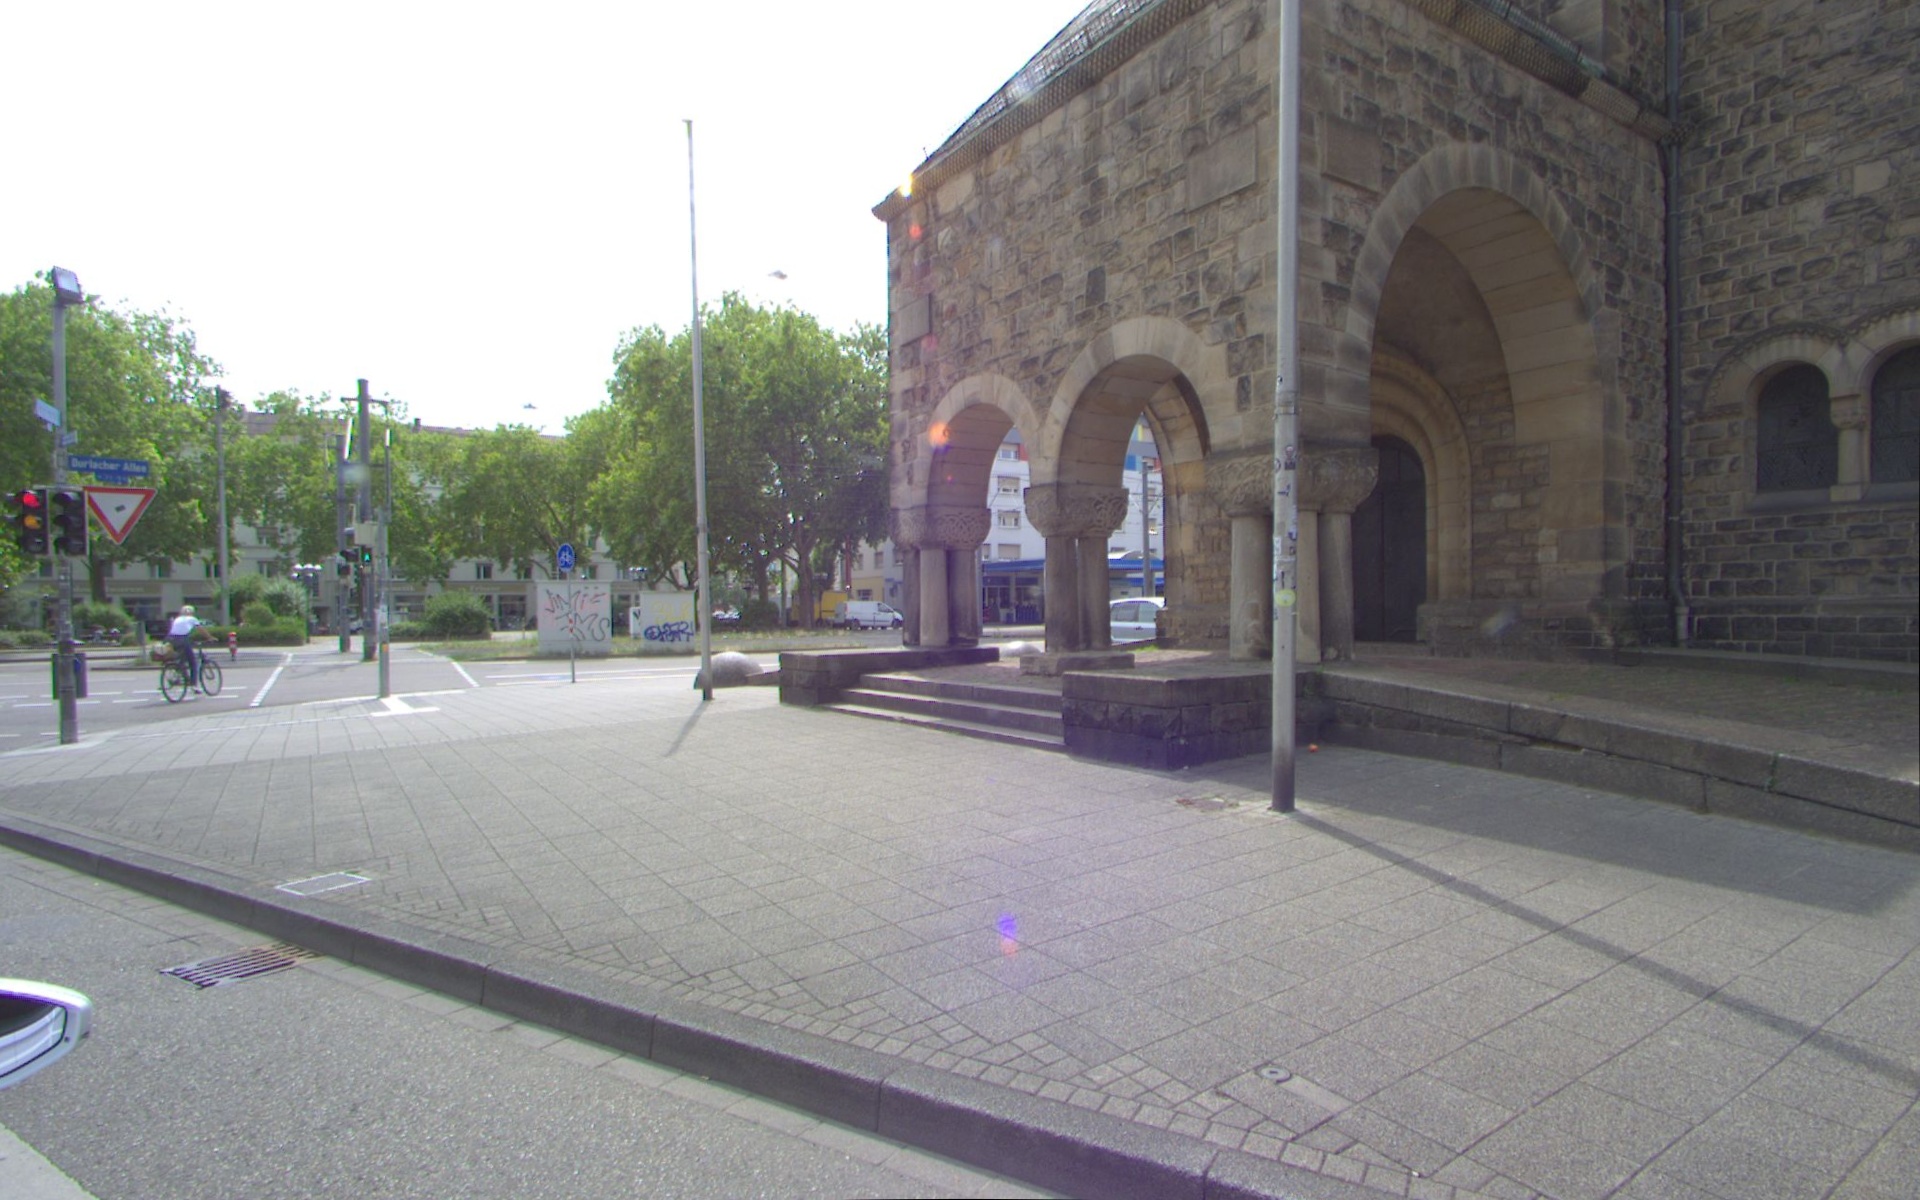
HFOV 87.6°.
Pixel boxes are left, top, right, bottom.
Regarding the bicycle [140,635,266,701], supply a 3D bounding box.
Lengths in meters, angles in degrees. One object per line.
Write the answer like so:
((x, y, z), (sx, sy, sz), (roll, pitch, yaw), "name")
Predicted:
((-13.963, 1.225, 18.556), (0.888, 1.089, 1.970), (0, 0, -2), "bicycle")

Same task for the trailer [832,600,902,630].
((-6.236, 0.981, 67.551), (4.377, 1.951, 1.843), (0, 0, -33), "trailer")

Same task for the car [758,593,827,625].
((-13.933, 0.750, 83.289), (5.269, 2.618, 2.165), (0, -1, -36), "car")

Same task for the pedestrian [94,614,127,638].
((-48.031, 1.464, 56.588), (1.422, 1.252, 1.087), (-1, 1, 37), "pedestrian")

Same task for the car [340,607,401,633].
((-45.185, 1.476, 76.764), (3.946, 1.908, 1.846), (-1, 0, -34), "car")

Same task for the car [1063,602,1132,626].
((8.286, 0.837, 60.193), (3.942, 1.418, 1.617), (0, -1, -30), "car")

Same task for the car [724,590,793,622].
((-17.289, 0.517, 86.188), (5.269, 2.618, 2.482), (0, -1, -36), "car")

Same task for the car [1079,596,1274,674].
((4.691, 0.712, 22.172), (1.992, 1.563, 4.002), (0, 0, -33), "car")

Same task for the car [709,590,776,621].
((-19.193, 0.522, 88.416), (5.269, 2.618, 2.482), (0, -1, -36), "car")

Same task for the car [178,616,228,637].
((-56.956, 1.957, 75.341), (3.949, 1.523, 1.986), (-1, 0, 37), "car")

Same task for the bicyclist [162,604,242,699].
((-13.978, 0.932, 18.479), (0.889, 1.706, 0.757), (0, 0, -1), "bicyclist")

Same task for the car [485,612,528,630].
((-39.573, 1.794, 87.365), (3.949, 1.523, 1.760), (-1, 0, 37), "car")

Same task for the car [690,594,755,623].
((-21.989, 0.808, 92.684), (5.269, 2.618, 2.482), (0, -1, -36), "car")

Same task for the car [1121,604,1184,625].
((14.770, 1.121, 76.738), (4.554, 1.535, 1.985), (0, -1, -31), "car")

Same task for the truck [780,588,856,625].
((-10.529, 0.451, 73.874), (3.040, 2.612, 6.468), (-1, 0, -34), "truck")
